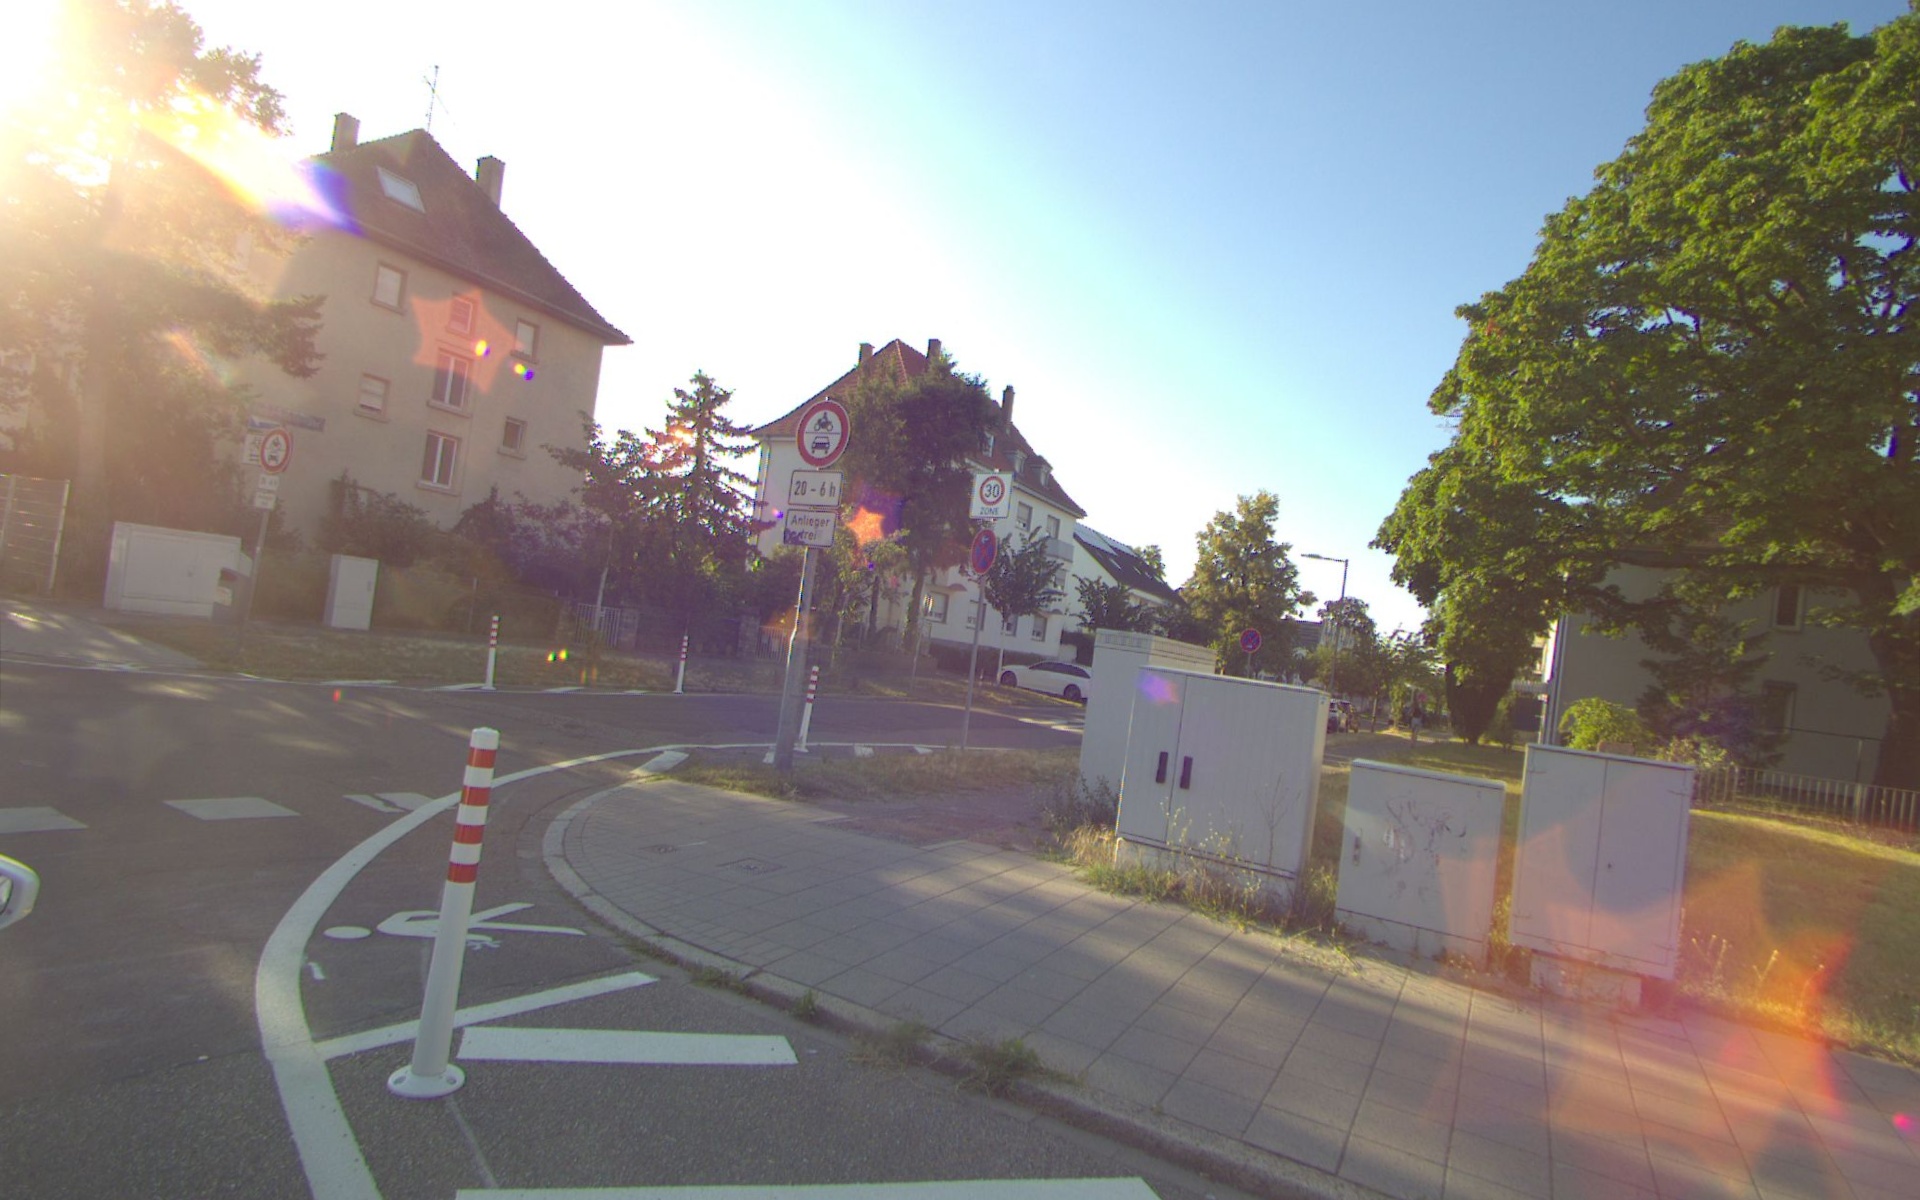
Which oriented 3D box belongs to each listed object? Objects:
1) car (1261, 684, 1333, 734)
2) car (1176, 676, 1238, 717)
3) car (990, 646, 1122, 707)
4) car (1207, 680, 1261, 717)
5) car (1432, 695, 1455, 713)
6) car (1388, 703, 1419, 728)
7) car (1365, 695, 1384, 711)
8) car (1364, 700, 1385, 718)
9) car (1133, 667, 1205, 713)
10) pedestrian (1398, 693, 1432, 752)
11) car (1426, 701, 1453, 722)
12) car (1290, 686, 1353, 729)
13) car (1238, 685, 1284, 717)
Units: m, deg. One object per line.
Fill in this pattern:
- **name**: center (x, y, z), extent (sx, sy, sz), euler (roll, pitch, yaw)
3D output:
- **car**: center (13.742, 4.434, 40.861), extent (1.938, 1.632, 4.245), euler (6, -3, 29)
- **car**: center (11.888, 4.639, 48.214), extent (1.937, 1.632, 4.248), euler (6, -3, 26)
- **car**: center (3.844, 3.072, 40.500), extent (4.754, 1.632, 1.971), euler (9, -1, 28)
- **car**: center (14.619, 5.244, 53.502), extent (1.937, 1.632, 4.248), euler (6, -3, 26)
- **car**: center (51.320, 11.070, 106.733), extent (1.938, 1.632, 4.245), euler (6, -3, 29)
- **car**: center (35.482, 9.224, 80.431), extent (1.937, 1.632, 4.248), euler (6, -3, 26)
- **car**: center (54.915, 13.612, 133.214), extent (1.937, 1.795, 4.248), euler (6, -3, 26)
- **car**: center (48.400, 12.730, 117.451), extent (1.937, 1.795, 4.248), euler (6, -3, 26)
- **car**: center (8.942, 3.856, 42.777), extent (1.937, 1.632, 4.248), euler (6, -3, 26)
- **pedestrian**: center (16.842, 4.513, 37.231), extent (0.884, 2.037, 0.692), euler (6, -2, 31)
- **car**: center (44.368, 10.293, 93.034), extent (1.938, 1.632, 4.245), euler (6, -3, 29)
- **car**: center (16.531, 4.911, 45.869), extent (1.938, 1.632, 4.245), euler (6, -3, 29)
- **car**: center (18.475, 6.209, 61.563), extent (1.937, 1.632, 4.248), euler (6, -3, 26)
